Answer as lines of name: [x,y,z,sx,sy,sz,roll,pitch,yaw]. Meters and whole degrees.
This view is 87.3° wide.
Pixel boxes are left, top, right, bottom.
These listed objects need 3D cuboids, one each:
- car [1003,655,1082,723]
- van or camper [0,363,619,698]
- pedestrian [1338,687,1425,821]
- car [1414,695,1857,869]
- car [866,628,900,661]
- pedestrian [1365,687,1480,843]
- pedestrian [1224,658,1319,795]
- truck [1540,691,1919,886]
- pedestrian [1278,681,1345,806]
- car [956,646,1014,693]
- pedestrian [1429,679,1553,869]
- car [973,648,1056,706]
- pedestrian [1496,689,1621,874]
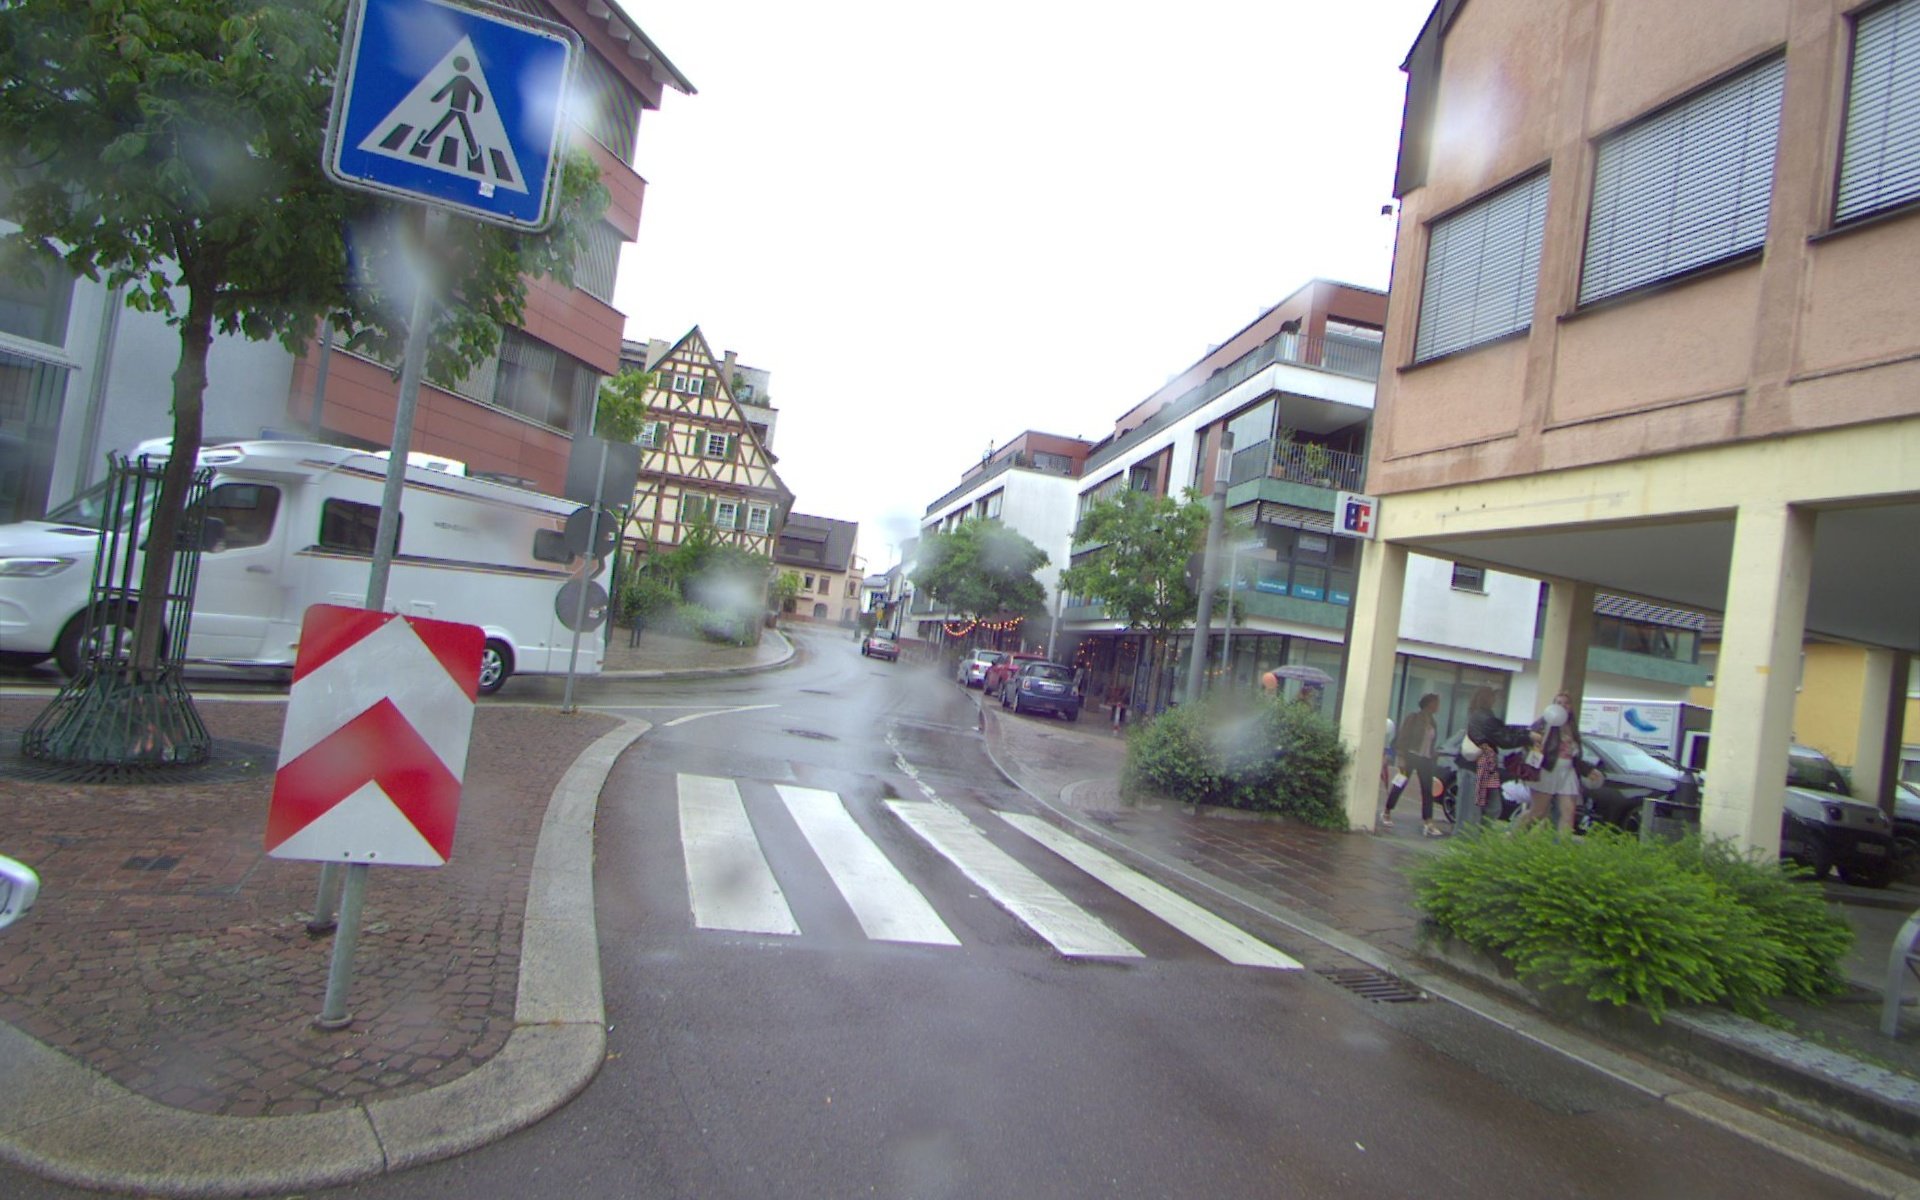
car: [2.183,2.384,27.492,1.514,1.378,3.371,7,0,-4]
van or camper: [-7.501,-0.393,11.819,2.402,2.613,6.756,6,-4,25]
pedestrian: [5.844,2.115,13.981,0.626,1.708,0.741,8,-2,-15]
car: [8.041,2.117,12.598,1.742,1.290,4.460,8,-3,-15]
car: [-4.073,2.294,52.824,1.500,1.487,3.340,8,-2,-6]
pedestrian: [5.307,1.878,11.579,0.732,1.623,0.824,6,-1,-12]
pedestrian: [4.393,1.772,14.240,0.725,1.768,0.890,8,-2,-16]
truck: [10.307,2.402,13.669,1.742,1.828,3.990,8,-3,-15]
pedestrian: [5.051,2.056,14.481,0.533,1.682,0.520,8,-2,-13]
car: [0.892,2.595,38.173,1.592,1.430,3.998,5,-2,-6]
pedestrian: [5.228,1.681,9.909,0.809,1.680,0.696,6,-2,39]
car: [1.697,2.454,32.616,1.602,1.518,3.994,6,-2,-11]
pedestrian: [6.074,1.825,10.207,0.719,1.708,0.726,9,-2,-37]
